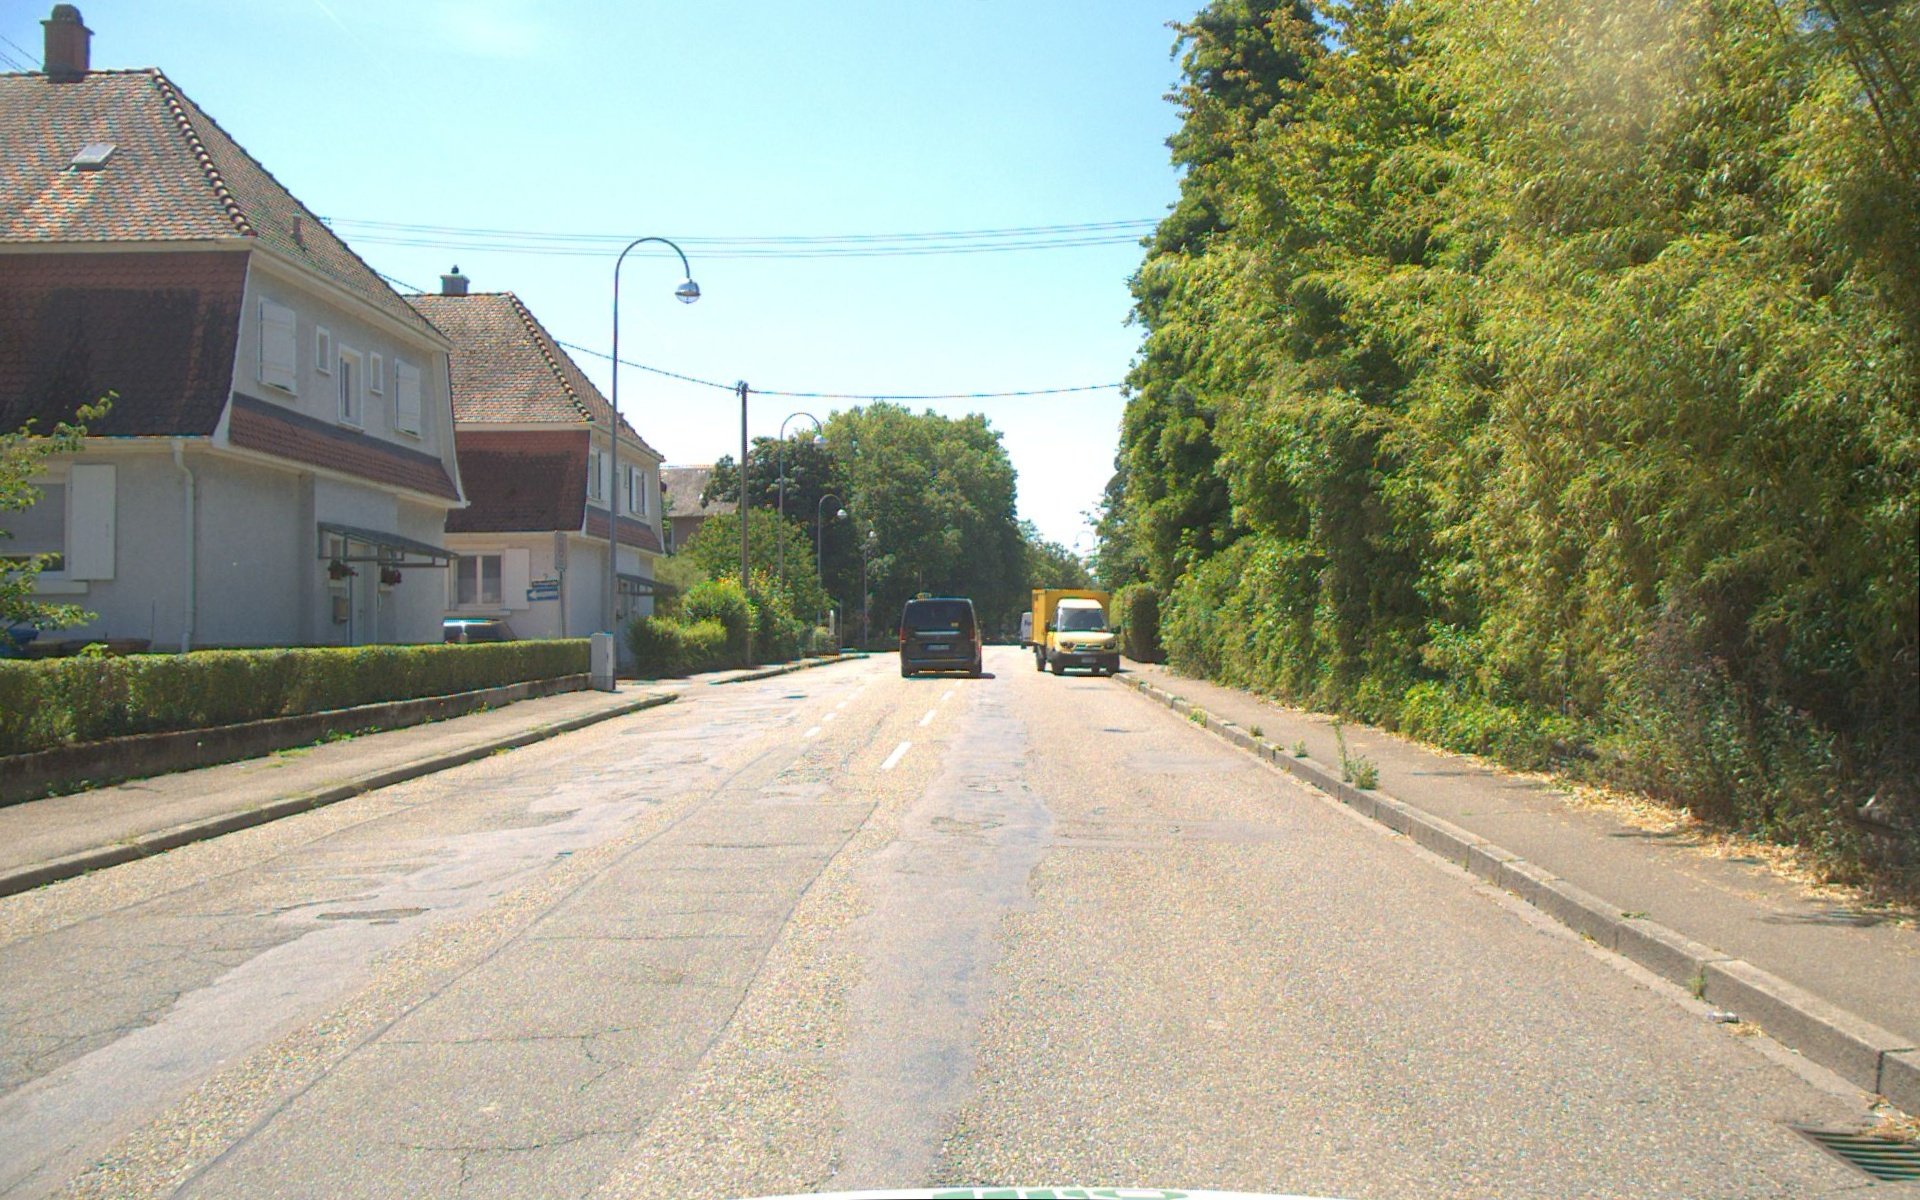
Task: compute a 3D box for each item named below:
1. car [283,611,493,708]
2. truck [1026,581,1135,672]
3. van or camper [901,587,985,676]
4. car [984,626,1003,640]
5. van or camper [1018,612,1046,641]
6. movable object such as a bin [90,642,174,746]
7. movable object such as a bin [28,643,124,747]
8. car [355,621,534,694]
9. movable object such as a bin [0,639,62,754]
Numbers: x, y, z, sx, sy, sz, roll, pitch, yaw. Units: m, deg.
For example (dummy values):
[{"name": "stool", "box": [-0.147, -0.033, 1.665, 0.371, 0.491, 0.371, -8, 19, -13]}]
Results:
[{"name": "car", "box": [-12.222, 1.254, 35.511, 3.787, 1.938, 1.880, -1, -1, 1]}, {"name": "truck", "box": [3.221, 0.718, 45.442, 2.308, 2.298, 6.089, -1, -1, -2]}, {"name": "van or camper", "box": [-0.355, 0.749, 40.729, 1.863, 2.049, 5.270, 0, -1, 2]}, {"name": "car", "box": [3.543, 3.446, 174.506, 1.515, 1.474, 3.008, -1, -1, 10]}, {"name": "van or camper", "box": [5.160, 1.909, 119.700, 1.952, 2.049, 4.001, -1, -1, 2]}, {"name": "movable object such as a bin", "box": [-11.114, 1.254, 22.220, 0.675, 1.345, 0.919, -1, -1, -1]}, {"name": "movable object such as a bin", "box": [-11.879, 1.267, 22.250, 0.802, 1.345, 0.919, -1, -1, -1]}, {"name": "car", "box": [-12.706, 1.398, 40.928, 3.787, 1.670, 1.880, -1, -1, 1]}, {"name": "movable object such as a bin", "box": [-12.743, 1.279, 22.165, 0.860, 1.499, 1.008, -1, -1, -1]}]
